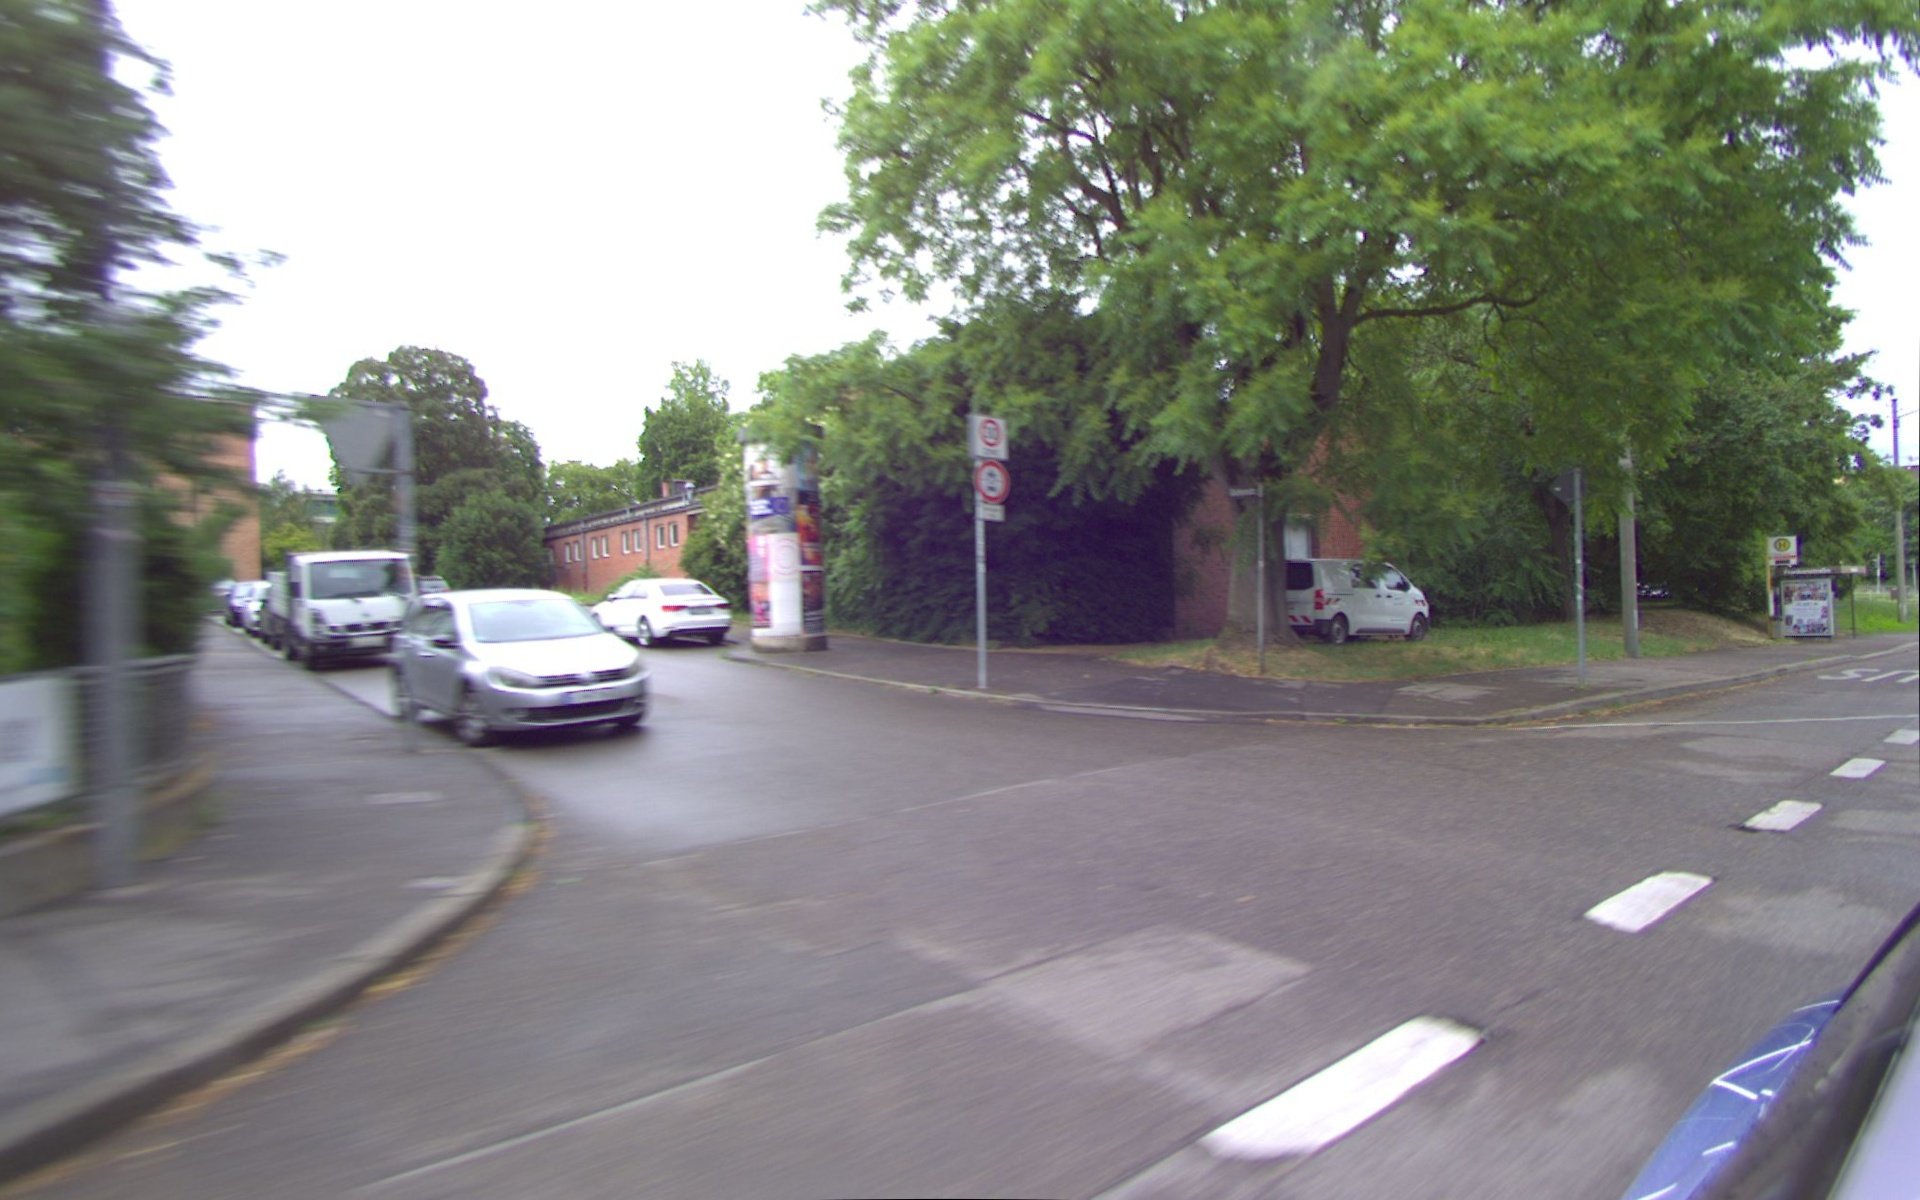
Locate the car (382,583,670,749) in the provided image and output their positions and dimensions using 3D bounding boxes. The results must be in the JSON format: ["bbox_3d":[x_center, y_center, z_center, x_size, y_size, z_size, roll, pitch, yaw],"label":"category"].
[{"bbox_3d":[-4.861,0.565,11.030,1.675,1.440,3.992,-2,2,-42],"label":"car"}]

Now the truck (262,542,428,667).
[{"bbox_3d":[-12.400,-0.006,20.189,1.965,2.085,5.842,-5,4,-39],"label":"truck"}]

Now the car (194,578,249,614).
[{"bbox_3d":[-32.291,-0.215,44.213,1.674,1.440,3.995,-3,3,-40],"label":"car"}]

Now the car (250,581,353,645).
[{"bbox_3d":[-16.466,0.270,25.223,1.674,1.440,3.995,0,1,-40],"label":"car"}]

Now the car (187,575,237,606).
[{"bbox_3d":[-36.753,-0.484,49.690,1.674,1.440,3.995,-3,3,-40],"label":"car"}]

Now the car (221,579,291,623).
[{"bbox_3d":[-24.704,-0.005,35.463,1.674,1.440,3.995,0,1,-40],"label":"car"}]

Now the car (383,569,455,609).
[{"bbox_3d":[-21.995,-0.462,41.076,1.675,1.539,3.992,-2,2,-42],"label":"car"}]

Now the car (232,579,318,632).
[{"bbox_3d":[-20.098,0.114,29.639,1.674,1.440,3.995,0,1,-40],"label":"car"}]

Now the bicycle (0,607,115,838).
[{"bbox_3d":[-5.163,0.615,5.731,0.449,1.129,1.576,0,0,-35],"label":"bicycle"}]

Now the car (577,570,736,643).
[{"bbox_3d":[-6.829,0.098,22.527,1.675,1.440,4.355,-2,2,-42],"label":"car"}]

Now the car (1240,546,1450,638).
[{"bbox_3d":[8.753,-0.142,22.818,5.052,1.828,1.998,0,-3,-37],"label":"car"}]
